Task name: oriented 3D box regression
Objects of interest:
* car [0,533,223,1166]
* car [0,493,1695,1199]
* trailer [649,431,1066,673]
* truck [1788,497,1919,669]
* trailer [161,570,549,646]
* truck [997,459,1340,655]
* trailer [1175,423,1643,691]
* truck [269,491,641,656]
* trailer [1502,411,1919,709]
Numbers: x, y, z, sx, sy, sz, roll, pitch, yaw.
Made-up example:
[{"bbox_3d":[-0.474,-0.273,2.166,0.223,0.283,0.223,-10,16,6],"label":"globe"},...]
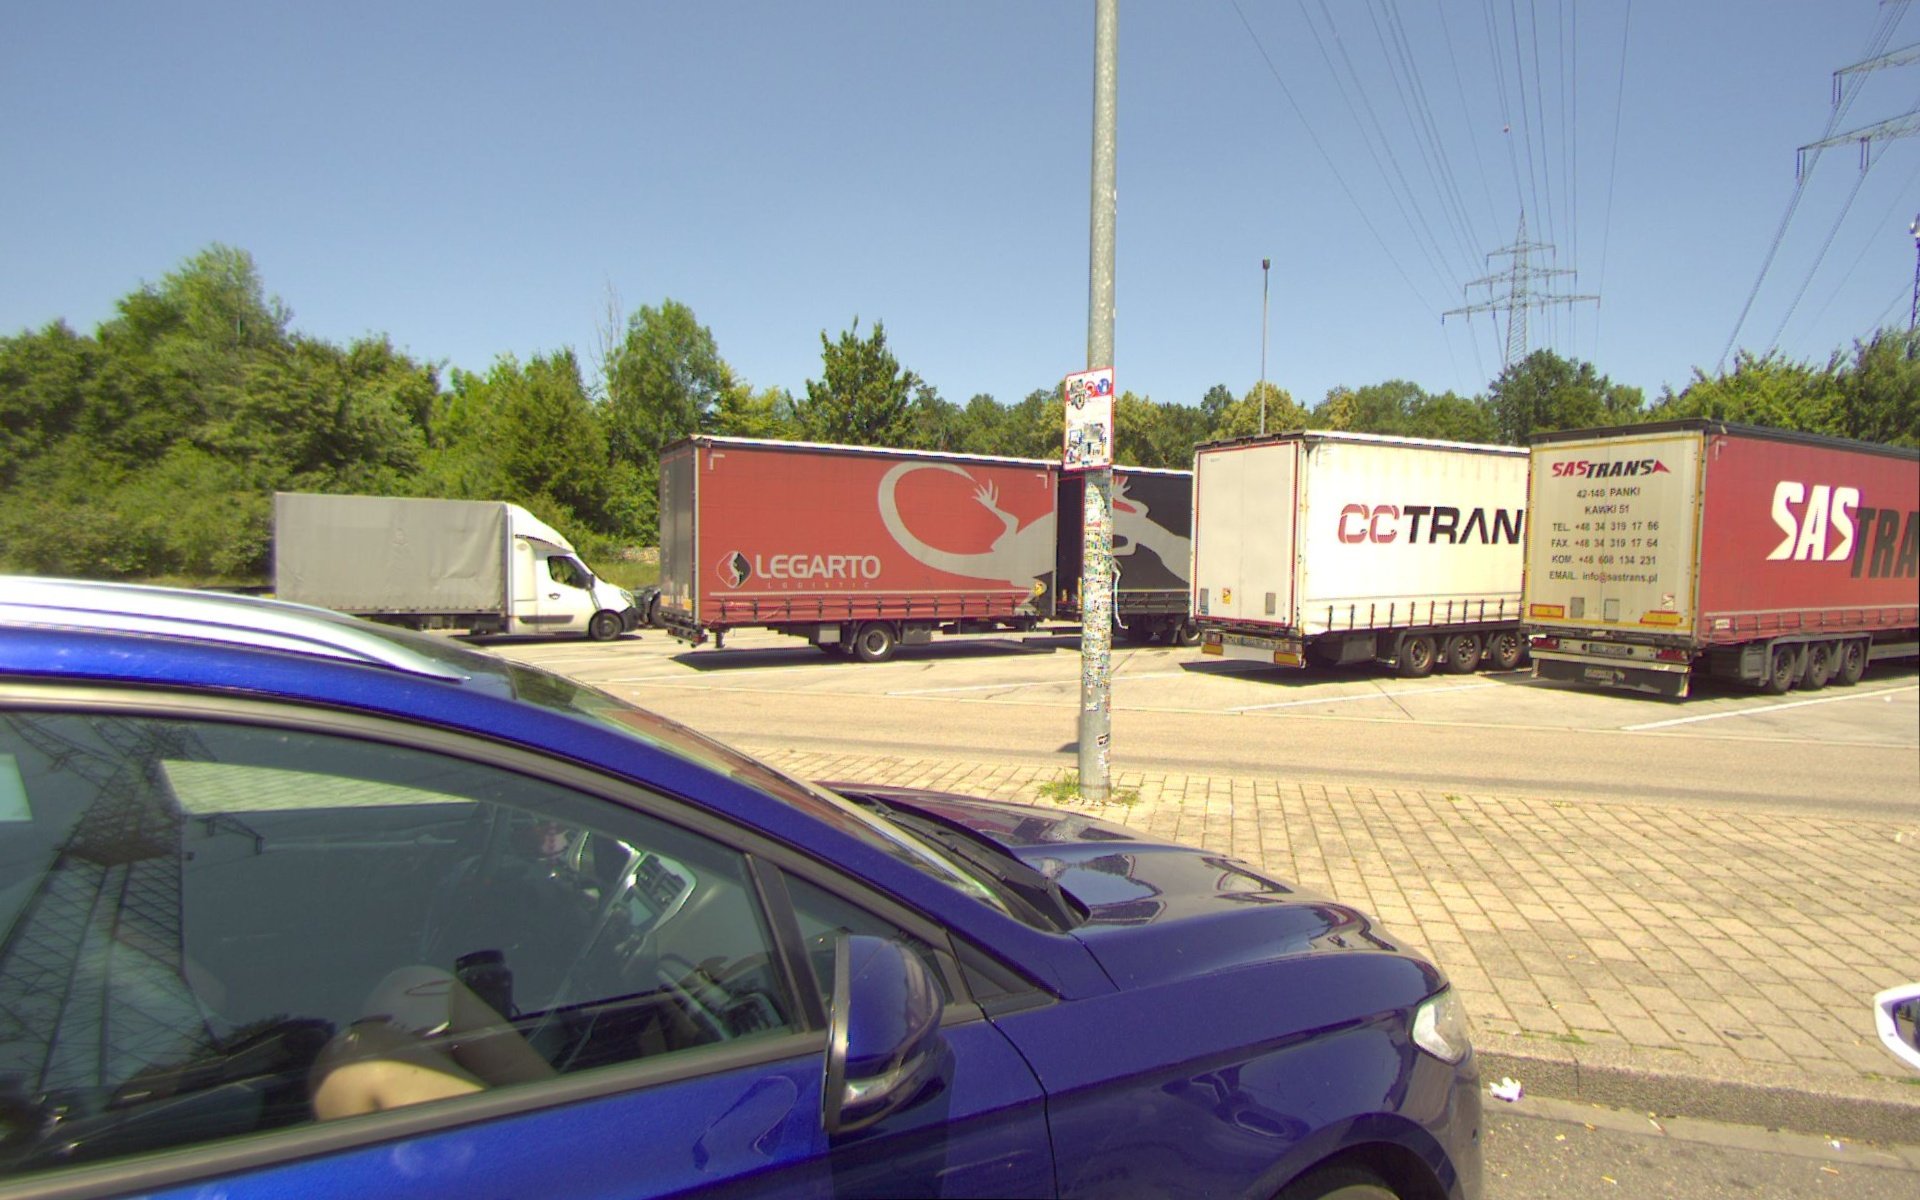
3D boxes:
[{"bbox_3d":[-4.436,0.578,2.089,4.522,1.526,1.743,0,2,-32],"label":"car"},{"bbox_3d":[-0.994,0.650,1.452,4.522,1.491,1.743,0,2,-32],"label":"car"},{"bbox_3d":[-1.903,-0.901,20.331,8.007,4.127,2.693,-1,3,-30],"label":"trailer"},{"bbox_3d":[21.237,-0.399,22.048,5.903,3.409,2.798,-1,3,-30],"label":"truck"},{"bbox_3d":[-14.771,0.108,25.234,8.007,1.648,2.199,-1,3,-30],"label":"trailer"},{"bbox_3d":[5.250,-0.995,24.540,8.586,4.127,2.693,-1,3,-30],"label":"truck"},{"bbox_3d":[8.951,-0.767,19.345,10.264,4.158,2.693,-1,3,-30],"label":"trailer"},{"bbox_3d":[-11.260,-0.620,22.995,7.187,3.289,2.694,-1,3,-29],"label":"truck"},{"bbox_3d":[15.444,-0.673,18.611,13.599,4.127,2.807,-1,3,-31],"label":"trailer"}]
